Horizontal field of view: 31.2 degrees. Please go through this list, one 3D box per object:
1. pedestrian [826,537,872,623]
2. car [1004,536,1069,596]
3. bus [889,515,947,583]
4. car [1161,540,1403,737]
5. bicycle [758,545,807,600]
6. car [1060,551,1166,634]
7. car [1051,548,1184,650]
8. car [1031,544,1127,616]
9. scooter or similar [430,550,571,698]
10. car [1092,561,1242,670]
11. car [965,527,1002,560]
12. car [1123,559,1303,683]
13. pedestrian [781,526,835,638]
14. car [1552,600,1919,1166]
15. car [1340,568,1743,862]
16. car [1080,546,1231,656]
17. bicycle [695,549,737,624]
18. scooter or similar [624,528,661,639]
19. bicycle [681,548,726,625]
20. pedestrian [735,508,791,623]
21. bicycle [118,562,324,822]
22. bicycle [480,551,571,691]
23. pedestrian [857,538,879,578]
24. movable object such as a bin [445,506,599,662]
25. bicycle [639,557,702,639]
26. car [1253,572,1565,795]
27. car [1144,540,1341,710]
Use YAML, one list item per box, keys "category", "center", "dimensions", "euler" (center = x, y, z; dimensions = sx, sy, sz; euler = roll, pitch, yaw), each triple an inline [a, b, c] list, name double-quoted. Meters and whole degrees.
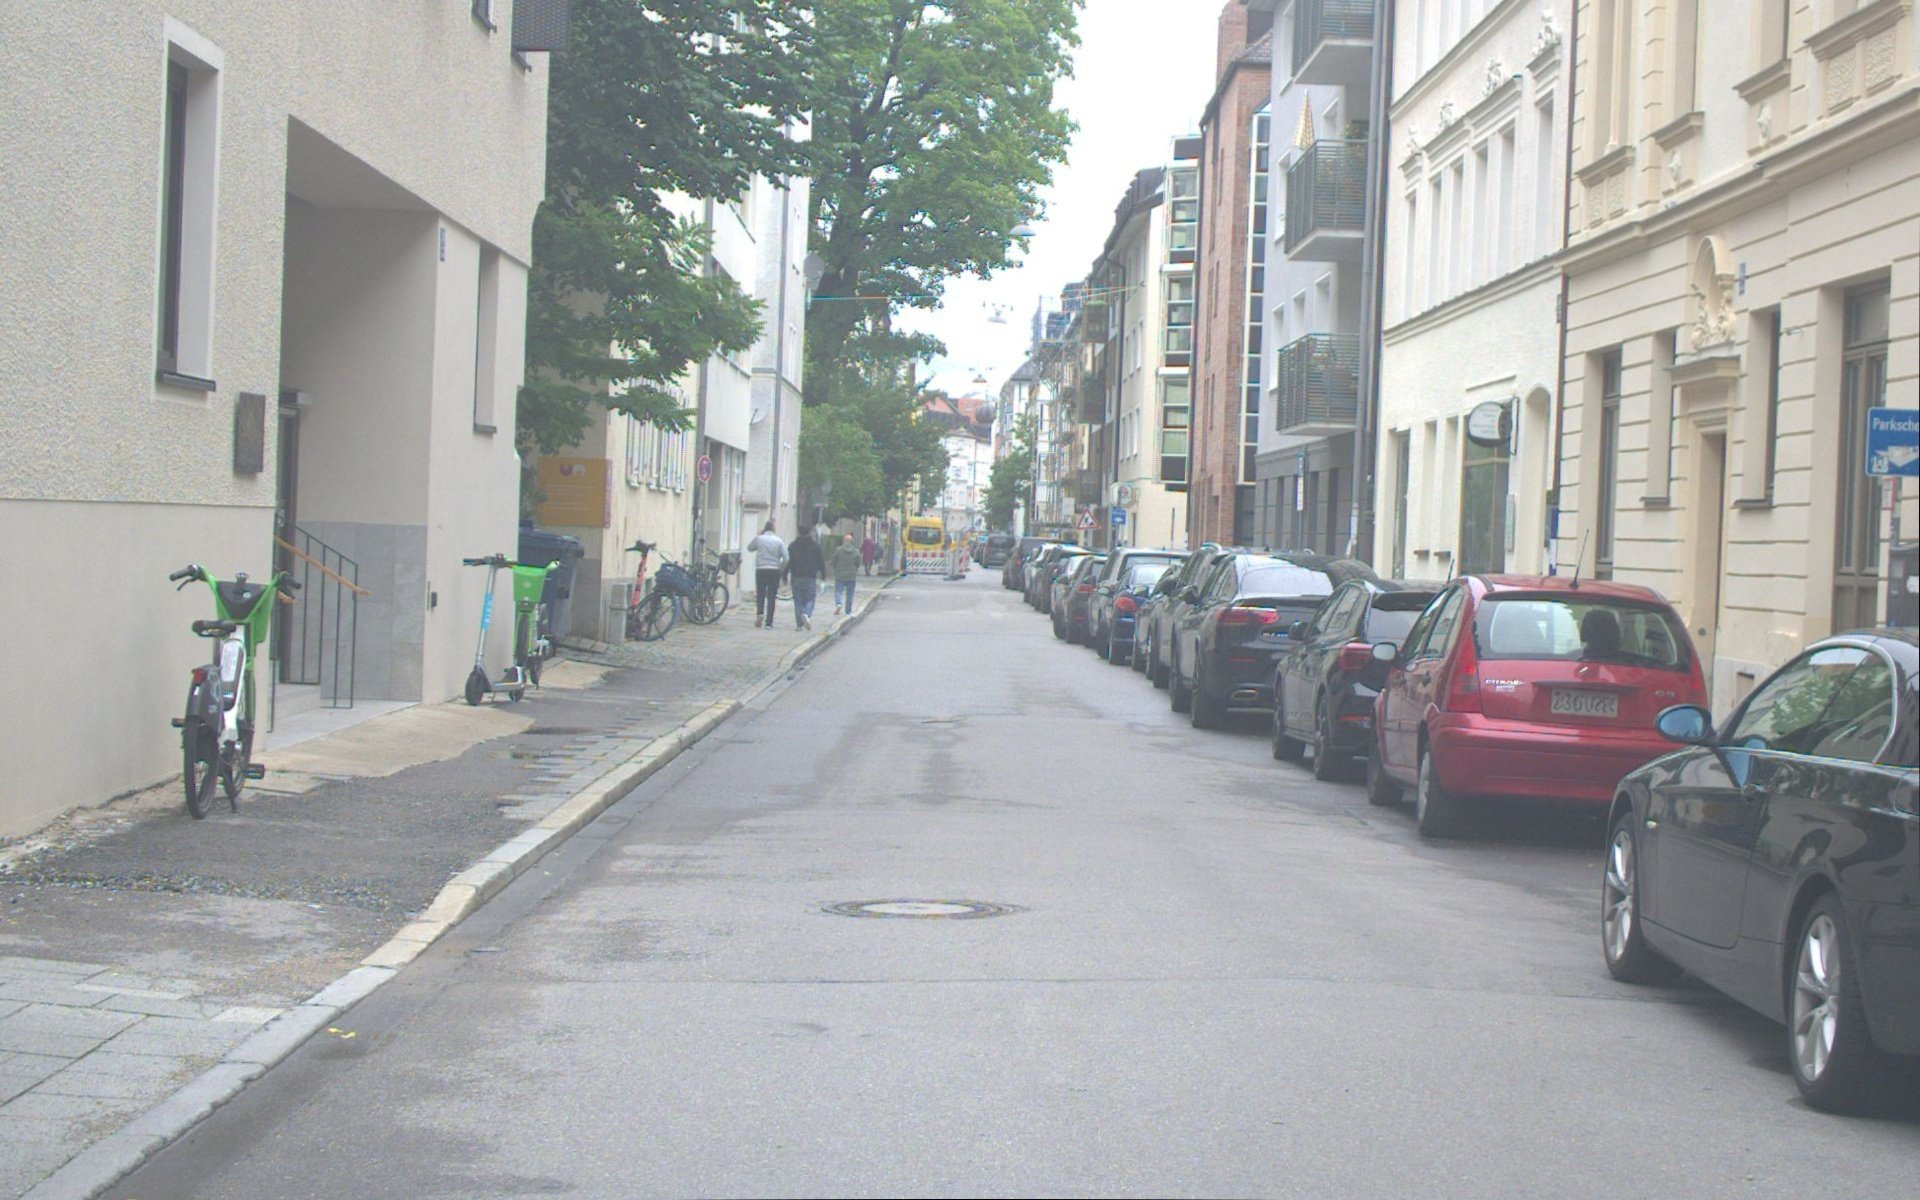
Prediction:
- category: "pedestrian"
  center: [-2.220, -0.400, 68.878]
  dimensions: [0.753, 1.653, 0.906]
  euler: [5, 0, 0]
- category: "car"
  center: [2.620, -1.191, 118.388]
  dimensions: [1.801, 1.814, 4.001]
  euler: [6, 1, -2]
- category: "bus"
  center: [-1.969, -2.415, 164.079]
  dimensions: [2.593, 3.091, 6.306]
  euler: [2, 0, 0]
- category: "car"
  center: [2.904, 0.294, 31.920]
  dimensions: [1.702, 1.601, 4.685]
  euler: [3, 1, 0]
- category: "bicycle"
  center: [-4.044, -0.625, 78.168]
  dimensions: [0.641, 1.213, 1.665]
  euler: [2, 0, -19]
- category: "car"
  center: [2.970, -0.173, 67.458]
  dimensions: [1.745, 1.457, 4.150]
  euler: [3, 1, -1]
- category: "car"
  center: [2.573, -0.050, 57.042]
  dimensions: [1.839, 1.523, 4.293]
  euler: [3, 1, -1]
- category: "car"
  center: [2.798, -0.500, 81.905]
  dimensions: [1.885, 1.550, 4.392]
  euler: [3, 1, -2]
- category: "scooter or similar"
  center: [-3.760, 0.201, 28.214]
  dimensions: [0.552, 1.140, 1.357]
  euler: [5, 1, 17]
- category: "car"
  center: [2.799, 0.182, 47.238]
  dimensions: [1.808, 1.358, 3.945]
  euler: [2, 1, 0]
- category: "car"
  center: [1.318, -3.225, 196.439]
  dimensions: [1.801, 1.706, 3.827]
  euler: [6, 1, -2]
- category: "car"
  center: [3.087, 0.219, 42.700]
  dimensions: [1.799, 1.381, 4.349]
  euler: [2, 1, -1]
- category: "pedestrian"
  center: [-2.459, -0.294, 55.709]
  dimensions: [0.718, 1.759, 0.838]
  euler: [4, 0, 0]
- category: "car"
  center: [3.268, 0.804, 10.873]
  dimensions: [1.825, 1.330, 4.509]
  euler: [6, 1, -1]
- category: "car"
  center: [3.381, 0.608, 20.660]
  dimensions: [1.676, 1.487, 3.853]
  euler: [3, 1, 0]
- category: "car"
  center: [2.913, -0.018, 52.155]
  dimensions: [1.875, 1.565, 4.317]
  euler: [1, 1, -2]
- category: "bicycle"
  center: [-3.917, -0.227, 55.204]
  dimensions: [0.561, 1.155, 1.721]
  euler: [3, 0, -6]
- category: "scooter or similar"
  center: [-4.028, -0.213, 43.612]
  dimensions: [0.317, 1.371, 1.239]
  euler: [2, 0, 0]
- category: "bicycle"
  center: [-3.989, -0.214, 53.488]
  dimensions: [0.458, 1.155, 1.605]
  euler: [5, 0, 1]
- category: "pedestrian"
  center: [-3.173, -0.558, 55.401]
  dimensions: [0.718, 1.790, 0.917]
  euler: [4, 0, 0]
- category: "bicycle"
  center: [-3.547, 0.410, 16.637]
  dimensions: [0.538, 1.135, 1.917]
  euler: [4, 1, -1]
- category: "bicycle"
  center: [-3.816, 0.165, 30.279]
  dimensions: [0.544, 1.157, 1.882]
  euler: [4, 1, -2]
- category: "pedestrian"
  center: [-3.463, -1.569, 129.459]
  dimensions: [0.756, 1.486, 0.831]
  euler: [2, 0, 0]
- category: "movable object such as a bin"
  center: [-4.543, -0.181, 35.757]
  dimensions: [1.174, 1.437, 1.248]
  euler: [8, 2, 6]
- category: "bicycle"
  center: [-3.813, -0.036, 45.346]
  dimensions: [0.703, 0.981, 1.823]
  euler: [7, 0, -4]
- category: "car"
  center: [3.219, 0.549, 25.365]
  dimensions: [1.676, 1.388, 4.066]
  euler: [3, 1, 0]
- category: "car"
  center: [3.021, 0.220, 37.556]
  dimensions: [1.676, 1.655, 4.513]
  euler: [3, 1, 0]
